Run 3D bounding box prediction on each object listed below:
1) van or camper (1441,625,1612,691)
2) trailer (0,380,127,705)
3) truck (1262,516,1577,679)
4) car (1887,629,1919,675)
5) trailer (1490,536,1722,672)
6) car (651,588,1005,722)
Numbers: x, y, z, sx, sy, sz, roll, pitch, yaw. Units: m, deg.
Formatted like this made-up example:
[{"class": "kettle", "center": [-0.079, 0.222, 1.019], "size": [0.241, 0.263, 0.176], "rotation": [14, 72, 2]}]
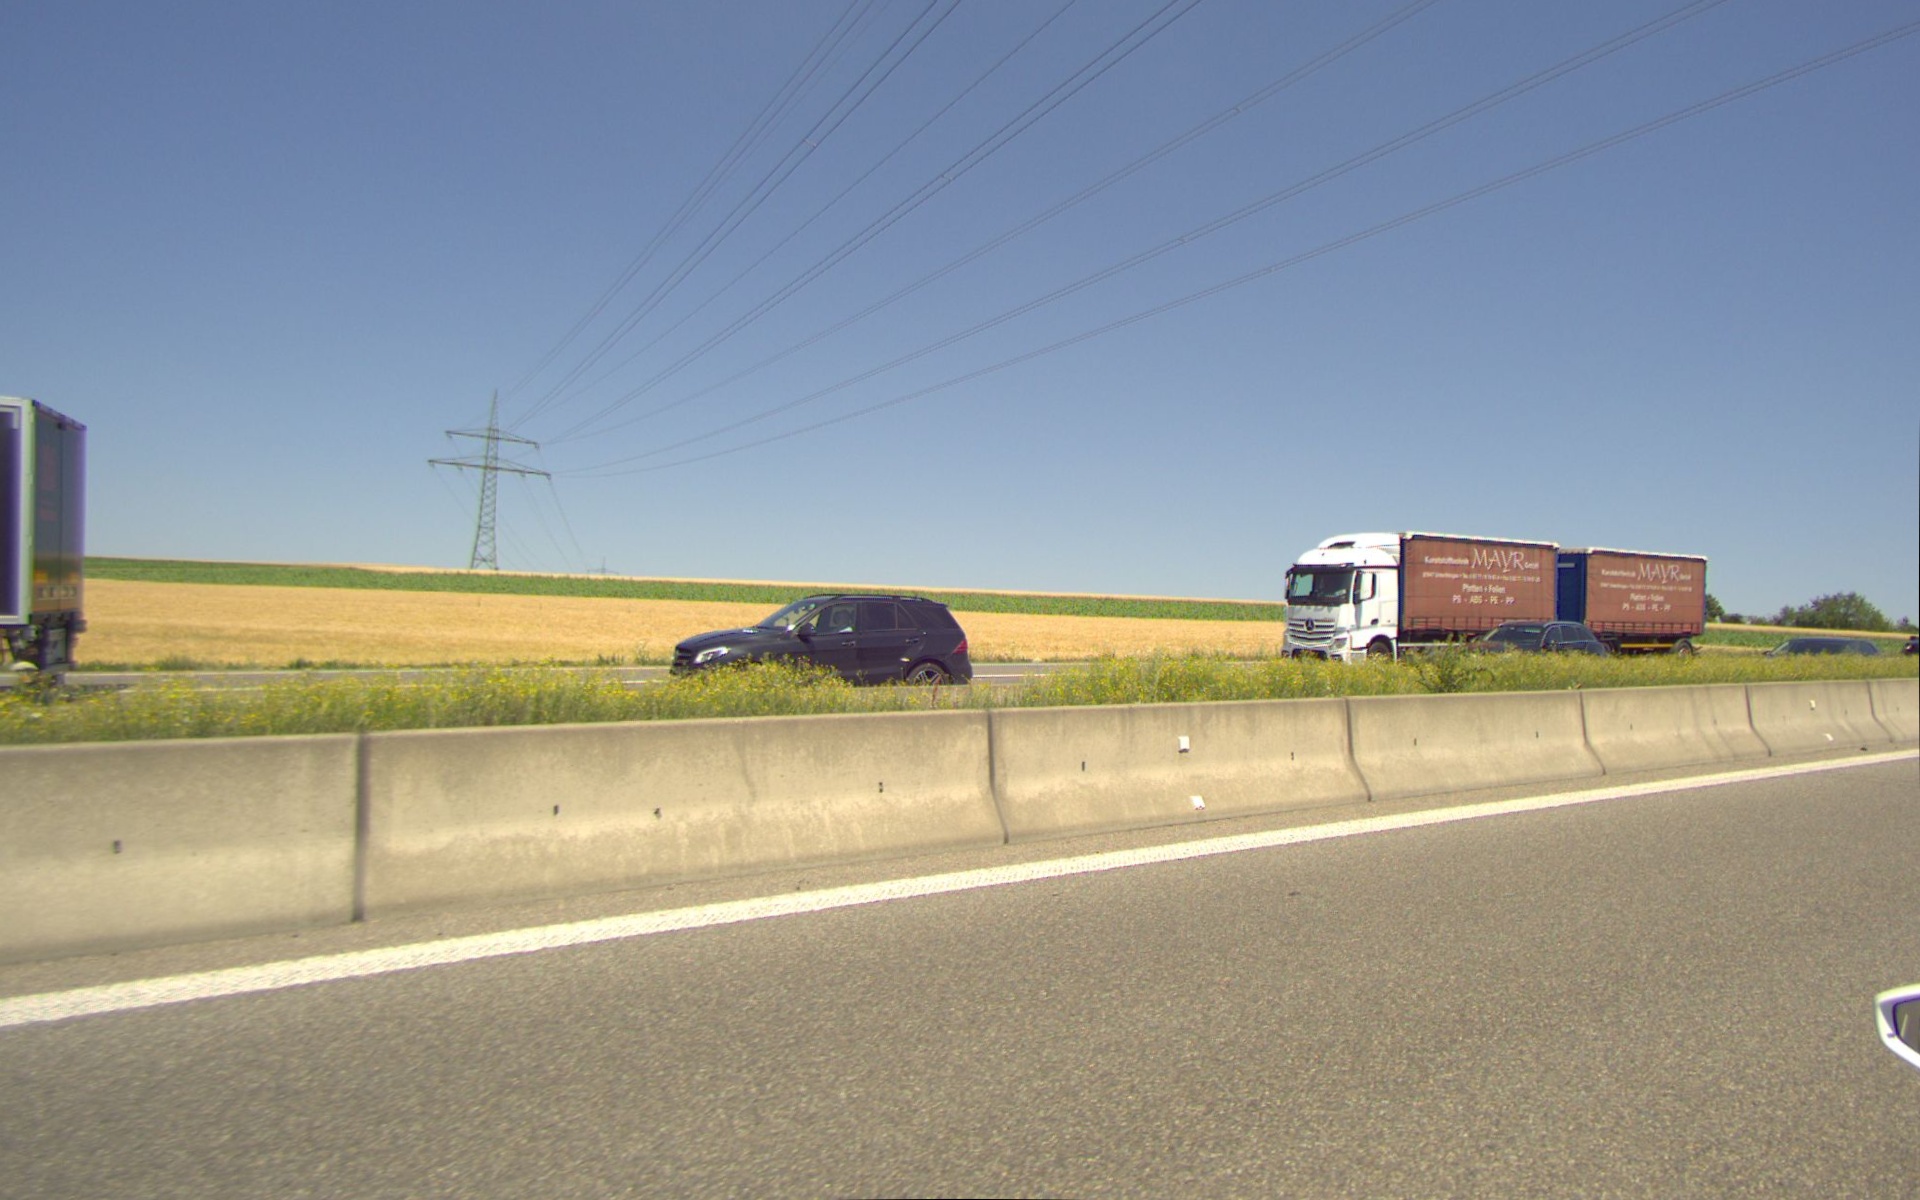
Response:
[{"class": "van or camper", "center": [14.038, 1.399, 24.870], "size": [3.953, 1.472, 1.984], "rotation": [2, 0, -31]}, {"class": "trailer", "center": [-18.348, -0.926, 10.959], "size": [13.840, 4.160, 2.780], "rotation": [2, 0, -30]}, {"class": "truck", "center": [13.904, 0.038, 29.941], "size": [10.494, 4.227, 2.874], "rotation": [2, 0, -29]}, {"class": "car", "center": [37.768, 2.015, 38.853], "size": [3.953, 1.692, 1.728], "rotation": [2, 0, -30]}, {"class": "trailer", "center": [22.460, 0.217, 34.752], "size": [9.066, 4.239, 2.764], "rotation": [1, 0, -29]}, {"class": "car", "center": [-2.000, 0.777, 15.806], "size": [5.153, 1.816, 1.984], "rotation": [1, 0, -31]}]
